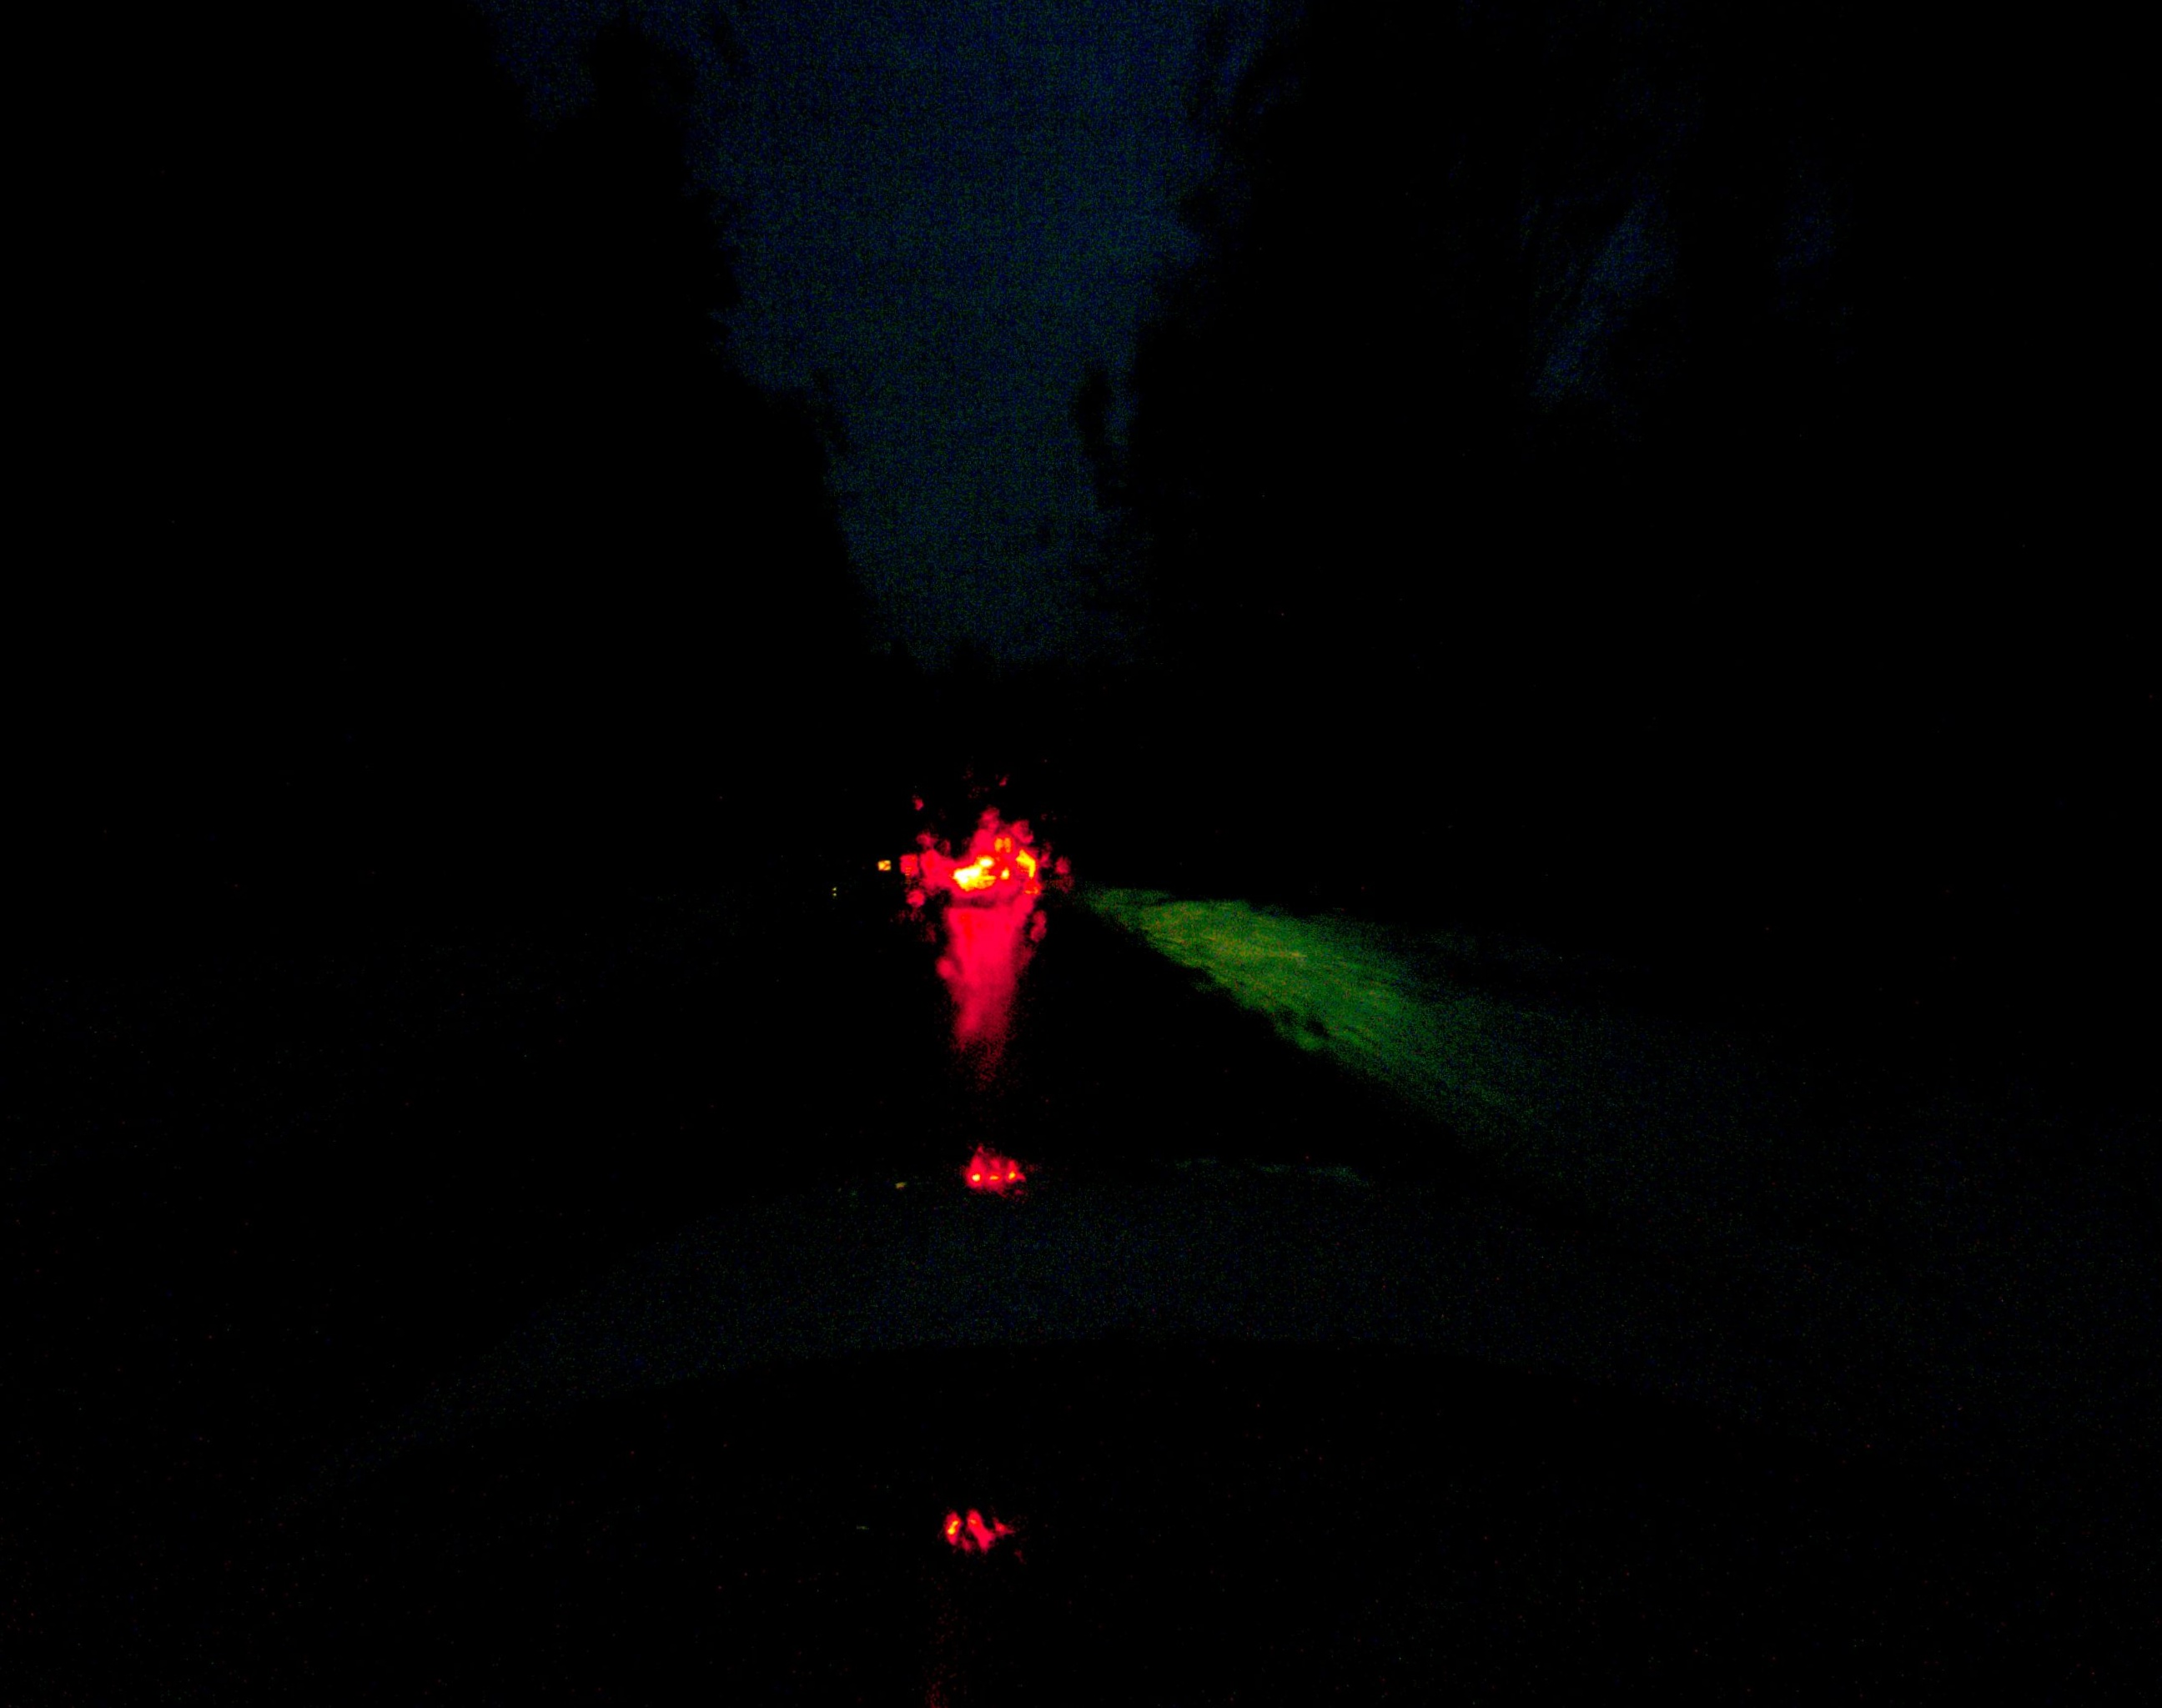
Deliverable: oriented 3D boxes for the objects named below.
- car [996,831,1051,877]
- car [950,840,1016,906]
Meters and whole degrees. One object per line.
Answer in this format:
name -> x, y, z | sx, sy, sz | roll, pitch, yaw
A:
car -> -3.376, -0.004, 48.963 | 2.239, 2.645, 5.018 | 0, 0, 9
car -> -3.310, 0.641, 28.239 | 1.990, 2.052, 3.994 | -2, -1, -4
